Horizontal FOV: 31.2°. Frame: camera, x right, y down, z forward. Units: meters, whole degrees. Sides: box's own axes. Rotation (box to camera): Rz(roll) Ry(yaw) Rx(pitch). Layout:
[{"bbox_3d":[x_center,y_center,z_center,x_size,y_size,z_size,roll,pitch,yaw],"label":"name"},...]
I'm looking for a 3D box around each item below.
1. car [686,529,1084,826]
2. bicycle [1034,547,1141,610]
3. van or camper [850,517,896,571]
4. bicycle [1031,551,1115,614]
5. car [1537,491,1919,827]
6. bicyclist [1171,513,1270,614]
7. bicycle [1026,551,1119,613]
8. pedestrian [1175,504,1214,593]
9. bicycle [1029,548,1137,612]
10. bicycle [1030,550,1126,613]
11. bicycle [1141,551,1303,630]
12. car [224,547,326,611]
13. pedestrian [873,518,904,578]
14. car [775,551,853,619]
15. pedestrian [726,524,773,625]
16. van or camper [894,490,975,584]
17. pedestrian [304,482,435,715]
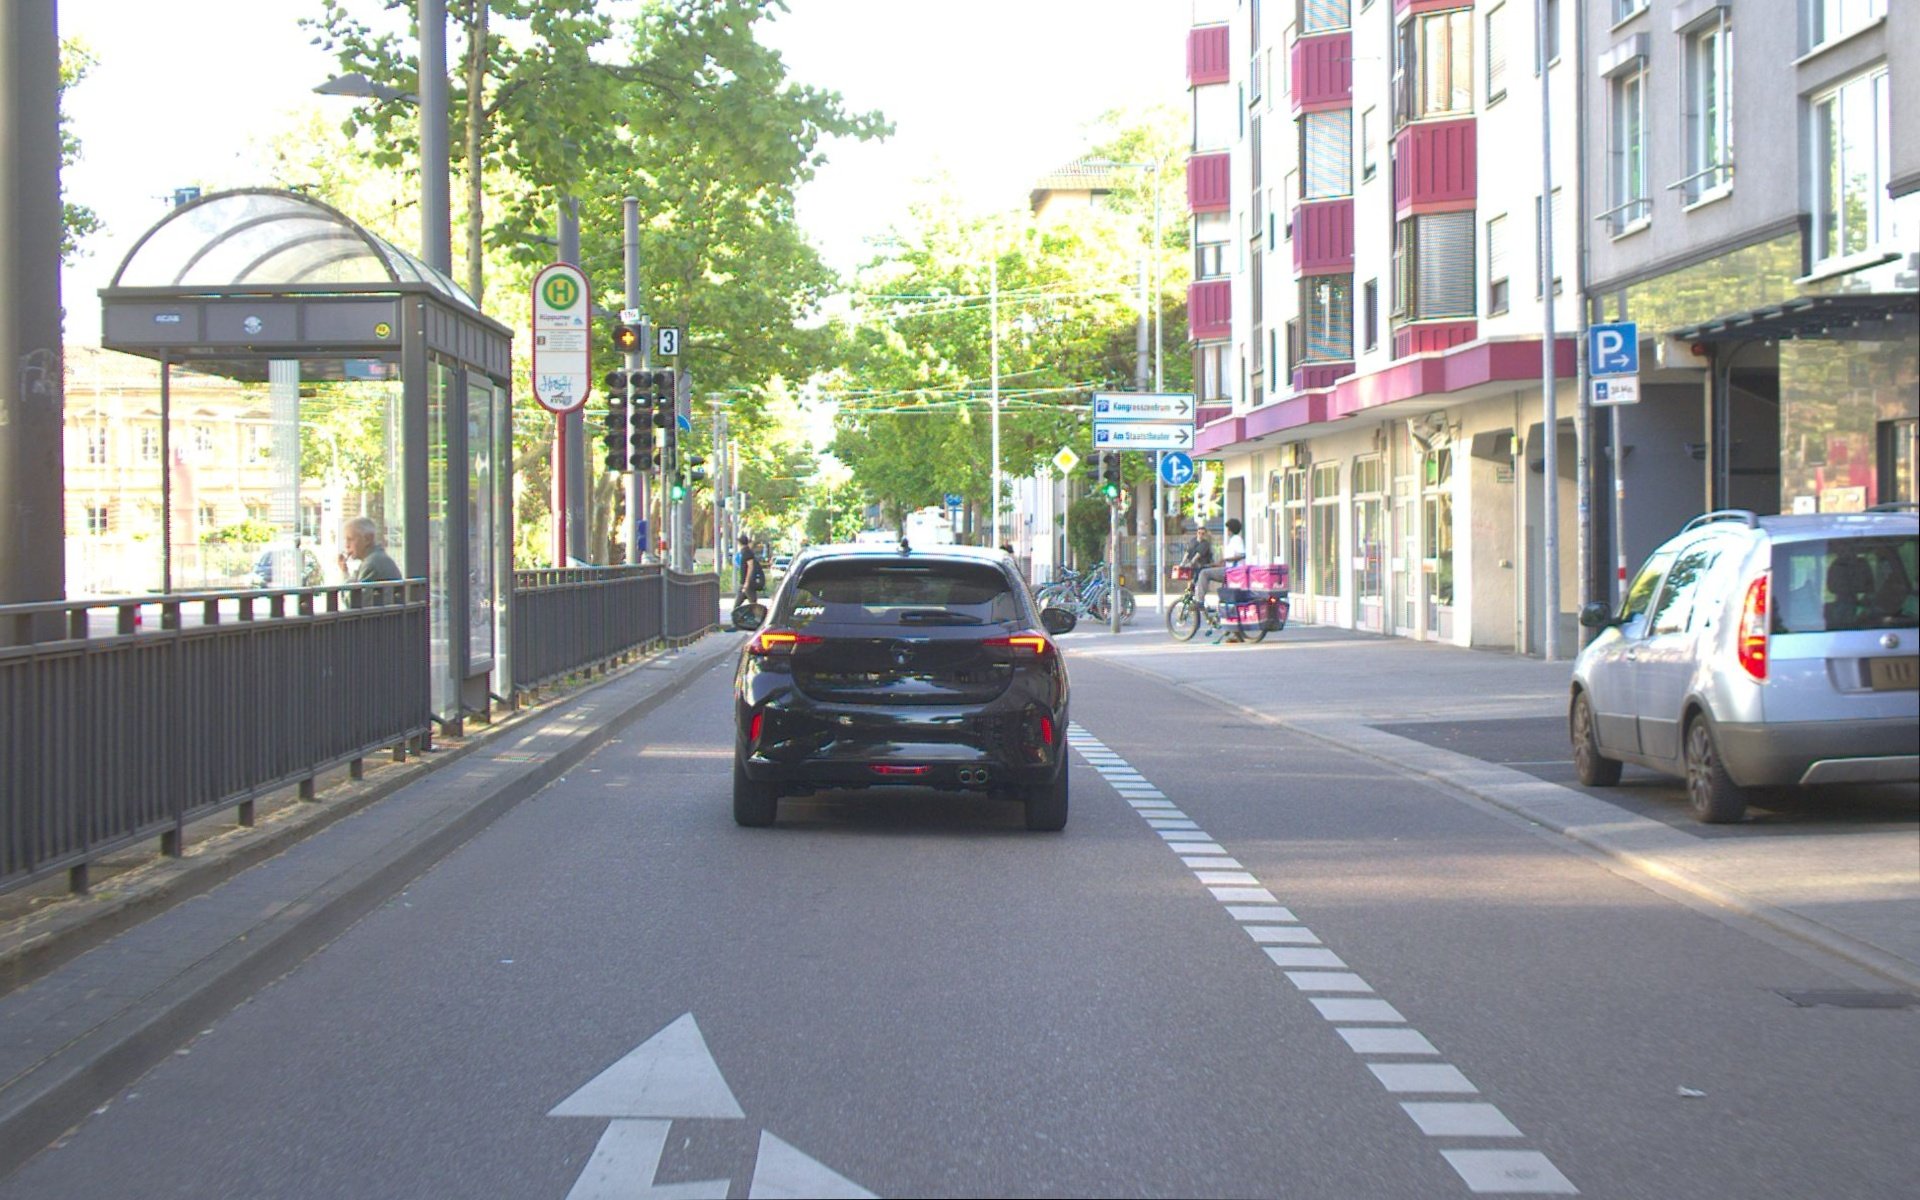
[{"bbox_3d":[-0.398,0.338,18.603,1.905,1.420,4.216,0,1,-1],"label":"car"},{"bbox_3d":[2.384,-0.399,64.367,1.939,1.166,0.572,0,0,-5],"label":"bicycle"},{"bbox_3d":[-4.939,-3.154,195.031,2.486,2.983,5.434,2,1,-1],"label":"van or camper"},{"bbox_3d":[2.188,-0.343,66.451,1.623,1.195,0.496,0,0,3],"label":"bicycle"},{"bbox_3d":[4.574,0.244,19.221,1.832,1.617,4.285,-3,1,-1],"label":"car"},{"bbox_3d":[3.997,-0.563,52.738,1.057,1.534,1.079,-1,1,-39],"label":"bicyclist"},{"bbox_3d":[2.195,-0.342,67.200,1.802,1.195,0.545,0,-1,3],"label":"bicycle"},{"bbox_3d":[4.916,-1.076,72.058,0.722,1.851,0.801,0,1,-2],"label":"pedestrian"},{"bbox_3d":[2.325,-0.382,65.010,1.976,1.195,0.591,0,0,-6],"label":"bicycle"},{"bbox_3d":[2.254,-0.357,65.881,1.831,1.216,0.496,0,1,2],"label":"bicycle"},{"bbox_3d":[4.001,-0.167,52.741,0.960,1.179,2.597,-1,1,-39],"label":"bicycle"},{"bbox_3d":[-21.397,-0.671,107.533,1.994,1.941,4.423,0,1,4],"label":"car"},{"bbox_3d":[-2.450,-1.777,117.524,1.036,2.017,1.212,0,1,-3],"label":"pedestrian"},{"bbox_3d":[-3.633,-0.395,86.264,1.832,1.617,4.285,1,1,-1],"label":"car"},{"bbox_3d":[-3.620,-0.444,59.212,0.734,1.741,0.712,0,1,3],"label":"pedestrian"},{"bbox_3d":[-0.955,-2.208,121.486,2.375,3.114,7.552,-3,1,-3],"label":"van or camper"},{"bbox_3d":[-3.390,-0.014,19.770,0.626,1.315,0.801,0,1,-1],"label":"pedestrian"}]
